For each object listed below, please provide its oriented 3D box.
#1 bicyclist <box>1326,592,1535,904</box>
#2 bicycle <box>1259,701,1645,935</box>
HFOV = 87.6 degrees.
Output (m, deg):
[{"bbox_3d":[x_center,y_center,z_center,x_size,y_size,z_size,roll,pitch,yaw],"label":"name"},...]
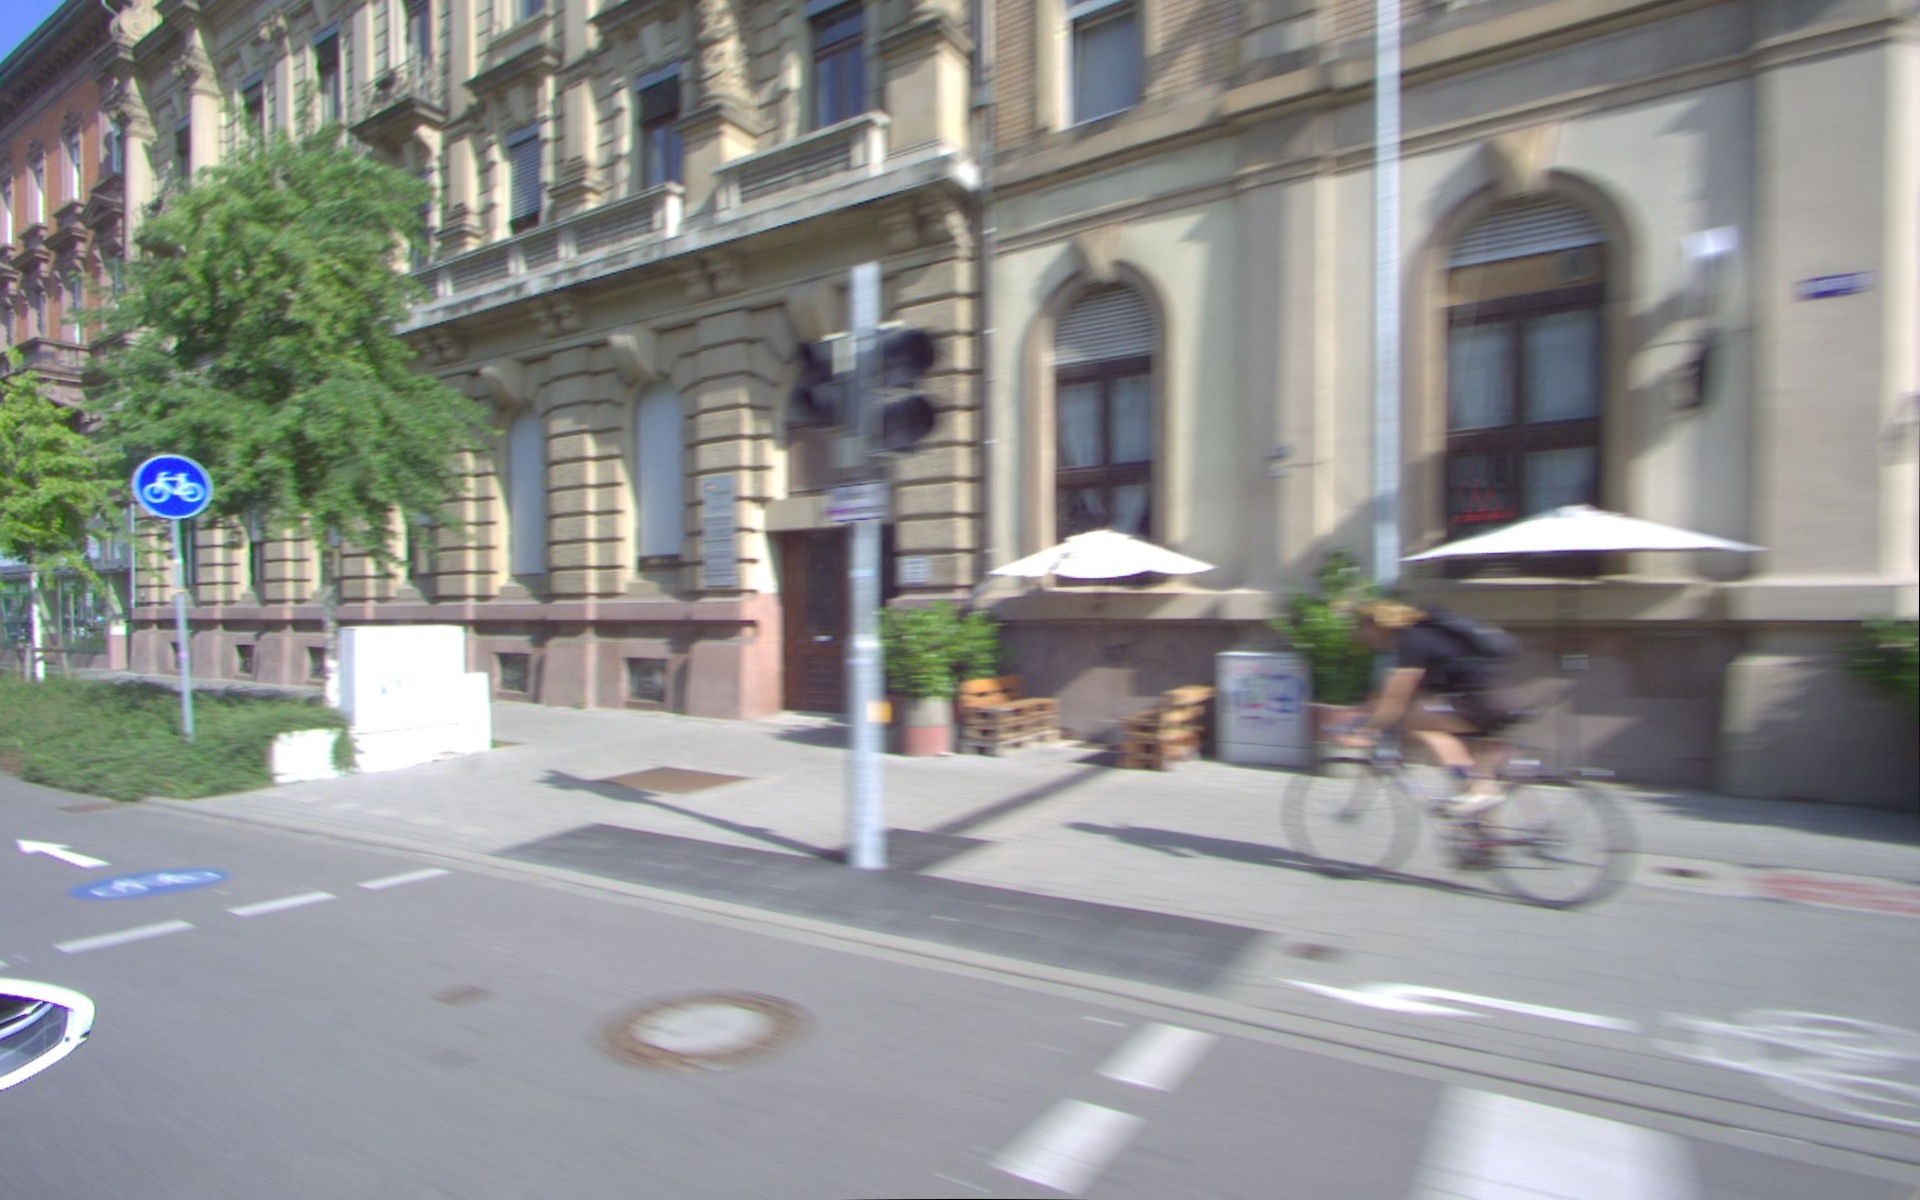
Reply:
[{"bbox_3d":[2.503,0.724,5.325,0.919,1.502,0.582,-1,1,33],"label":"bicyclist"},{"bbox_3d":[2.543,1.073,5.296,1.760,0.966,0.504,-1,1,34],"label":"bicycle"}]
